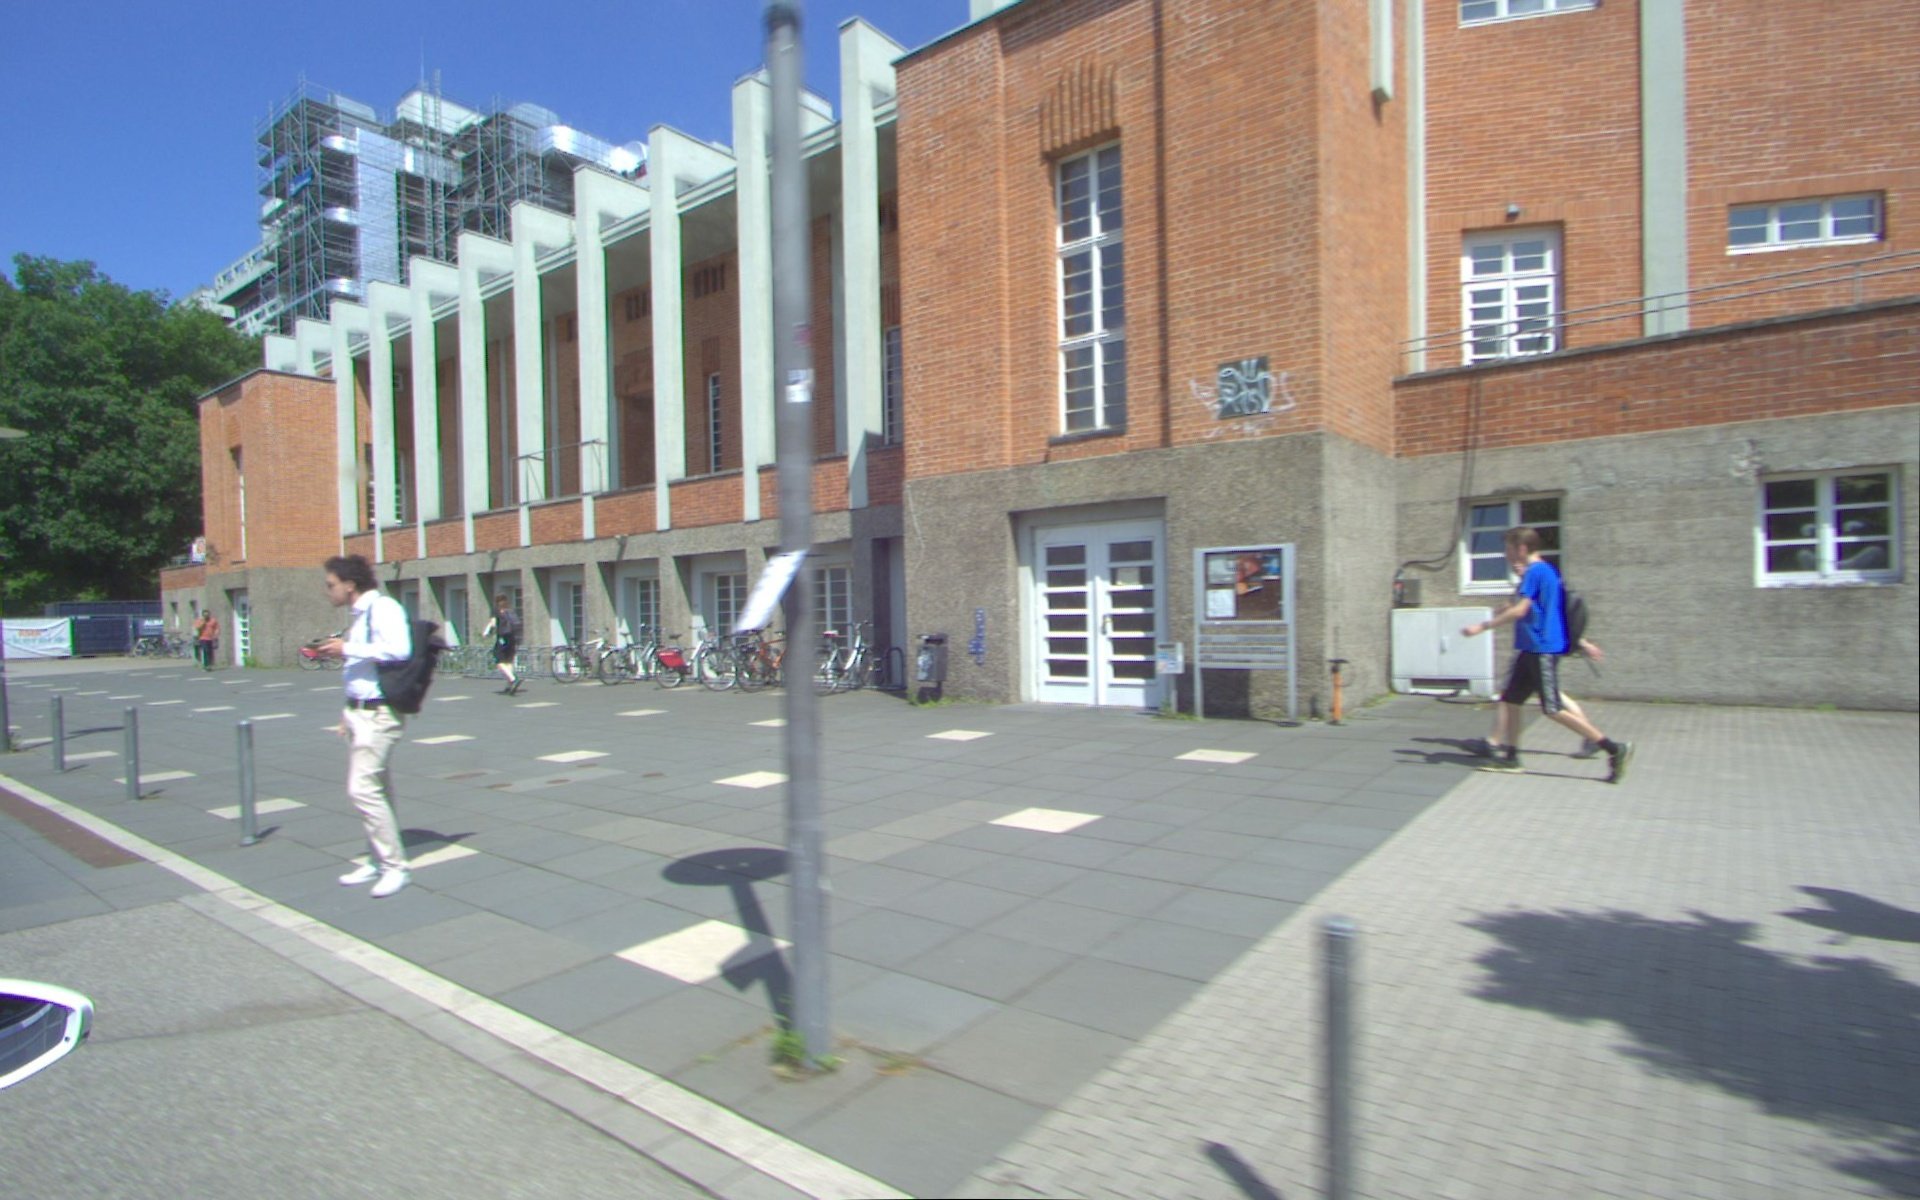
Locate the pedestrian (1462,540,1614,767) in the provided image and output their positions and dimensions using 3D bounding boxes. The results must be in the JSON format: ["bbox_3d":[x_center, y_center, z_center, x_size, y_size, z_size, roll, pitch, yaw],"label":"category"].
[{"bbox_3d":[4.657,0.422,8.108,0.987,1.729,0.584,-2,0,30],"label":"pedestrian"}]

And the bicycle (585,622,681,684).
[{"bbox_3d":[-6.473,1.030,19.925,0.430,1.124,1.904,-1,0,36],"label":"bicycle"}]

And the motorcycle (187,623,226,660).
[{"bbox_3d":[-28.253,1.538,37.540,2.194,1.341,0.692,-1,0,41],"label":"motorcycle"}]

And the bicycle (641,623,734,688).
[{"bbox_3d":[-5.089,1.014,18.787,0.430,1.124,1.790,-1,0,36],"label":"bicycle"}]

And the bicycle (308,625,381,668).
[{"bbox_3d":[-17.874,1.341,29.110,0.511,1.165,1.747,-1,0,36],"label":"bicycle"}]

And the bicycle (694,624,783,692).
[{"bbox_3d":[-3.889,1.000,17.712,0.430,1.124,1.645,-1,0,36],"label":"bicycle"}]

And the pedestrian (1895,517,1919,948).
[{"bbox_3d":[4.144,0.513,3.559,1.065,1.697,0.780,-2,0,35],"label":"pedestrian"}]

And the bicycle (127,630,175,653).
[{"bbox_3d":[-37.461,1.919,46.403,0.442,1.016,1.664,-1,0,38],"label":"bicycle"}]

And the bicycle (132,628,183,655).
[{"bbox_3d":[-35.829,1.834,44.716,0.442,1.124,1.694,-1,0,38],"label":"bicycle"}]

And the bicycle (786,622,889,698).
[{"bbox_3d":[-1.947,0.933,16.183,0.451,1.124,1.923,-1,0,36],"label":"bicycle"}]

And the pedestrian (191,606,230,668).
[{"bbox_3d":[-22.909,1.131,30.607,0.893,1.858,0.662,-1,0,31],"label":"pedestrian"}]

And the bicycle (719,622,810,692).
[{"bbox_3d":[-3.345,0.959,17.292,0.430,1.124,1.688,-1,0,36],"label":"bicycle"}]

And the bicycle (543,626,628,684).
[{"bbox_3d":[-7.797,1.129,20.915,0.430,1.124,1.676,-1,0,36],"label":"bicycle"}]

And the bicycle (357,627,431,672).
[{"bbox_3d":[-14.963,1.297,26.510,0.430,1.124,1.676,-1,0,36],"label":"bicycle"}]

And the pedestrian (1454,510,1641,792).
[{"bbox_3d":[4.292,0.363,7.361,1.094,1.915,0.663,-2,0,31],"label":"pedestrian"}]

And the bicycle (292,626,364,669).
[{"bbox_3d":[-18.651,1.389,29.601,0.430,1.165,1.747,-1,0,36],"label":"bicycle"}]

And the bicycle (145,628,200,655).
[{"bbox_3d":[-34.196,1.794,43.504,0.442,1.124,1.798,-1,0,38],"label":"bicycle"}]

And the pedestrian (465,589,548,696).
[{"bbox_3d":[-8.144,0.752,17.988,1.181,1.858,0.842,-1,0,33],"label":"pedestrian"}]

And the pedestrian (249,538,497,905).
[{"bbox_3d":[-3.289,0.618,5.748,1.008,1.873,0.913,-3,2,-21],"label":"pedestrian"}]

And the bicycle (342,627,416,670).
[{"bbox_3d":[-15.993,1.317,27.601,0.430,1.124,1.741,-1,0,36],"label":"bicycle"}]
